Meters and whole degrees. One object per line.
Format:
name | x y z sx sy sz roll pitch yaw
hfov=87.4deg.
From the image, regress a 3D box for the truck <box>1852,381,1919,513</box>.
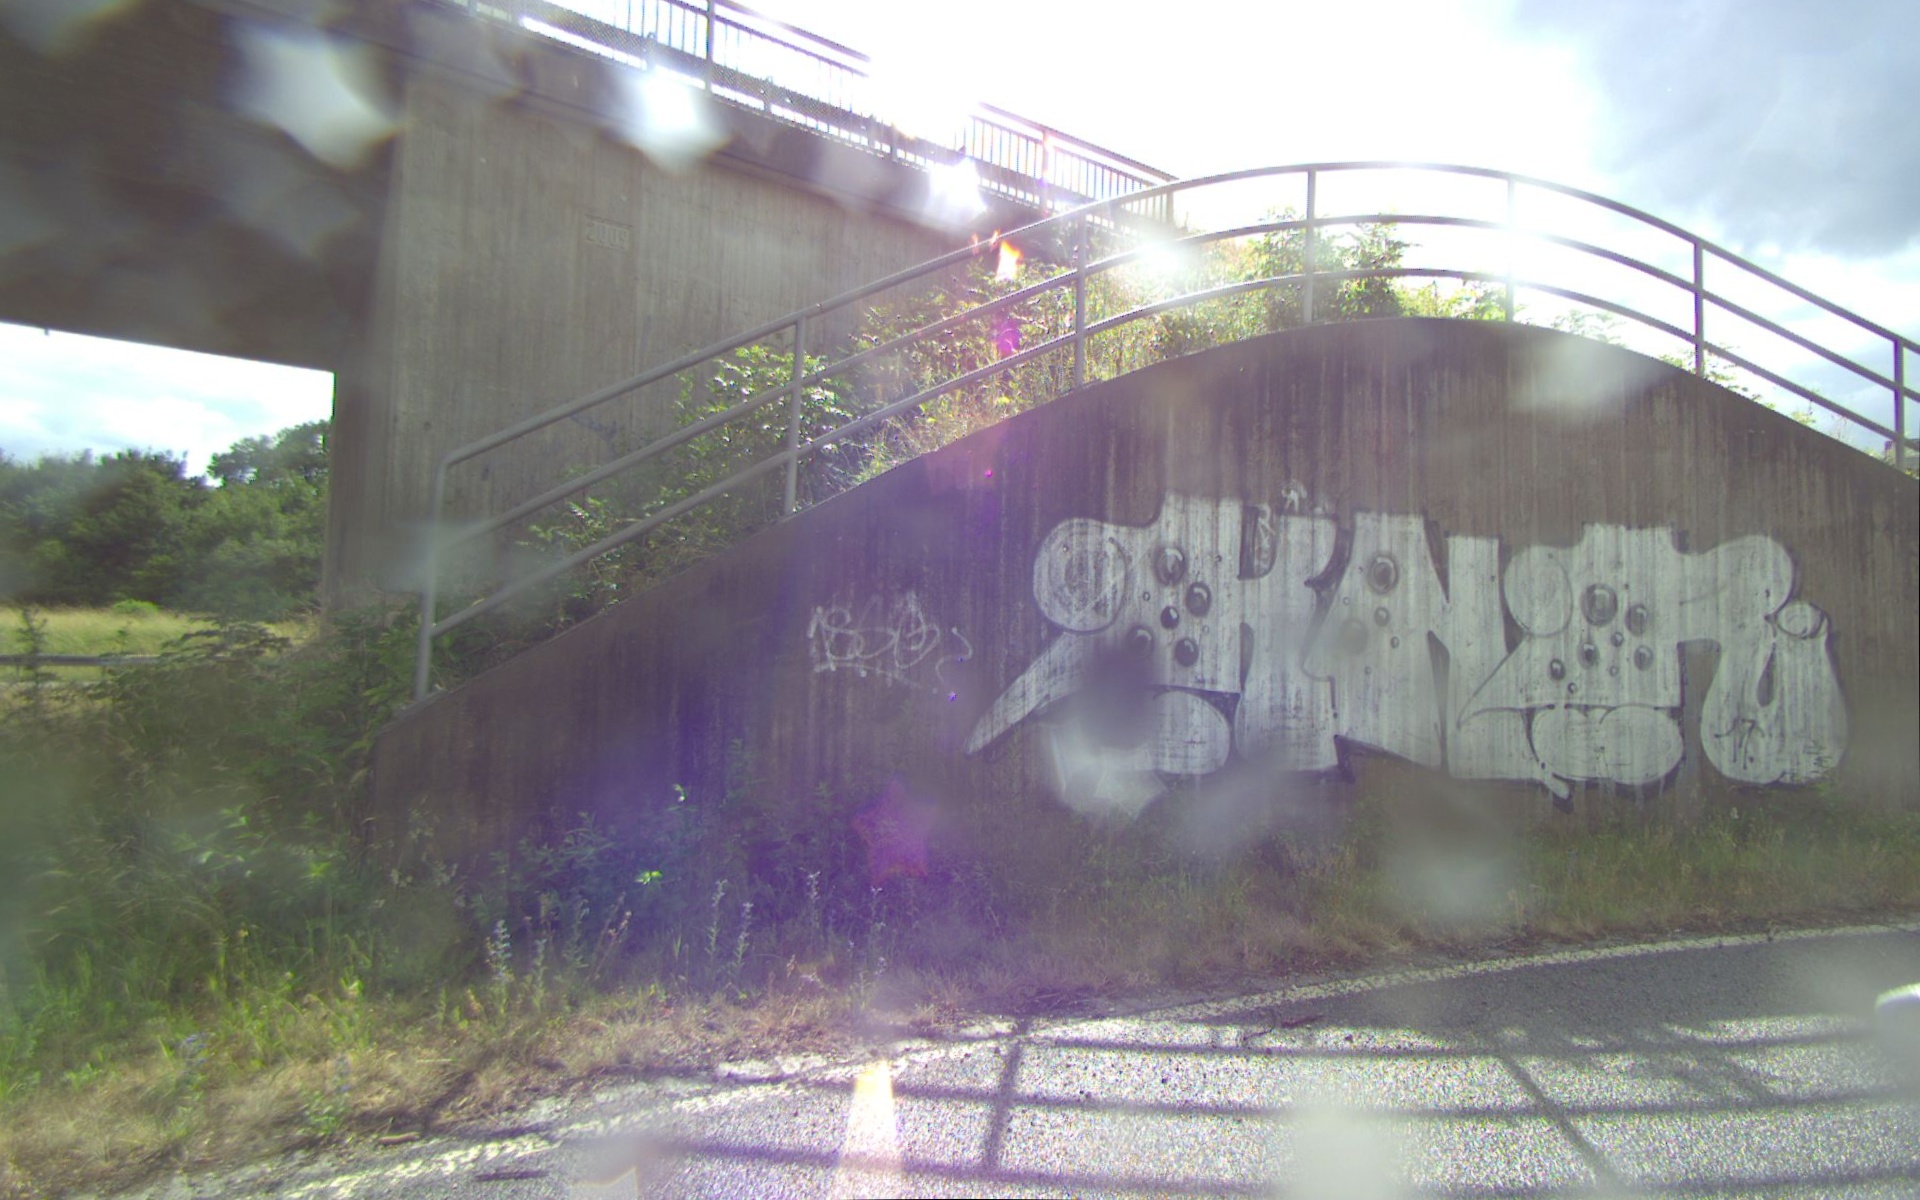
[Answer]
truck | 38.439 -5.613 38.568 9.122 4.018 3.168 4 -2 -28
